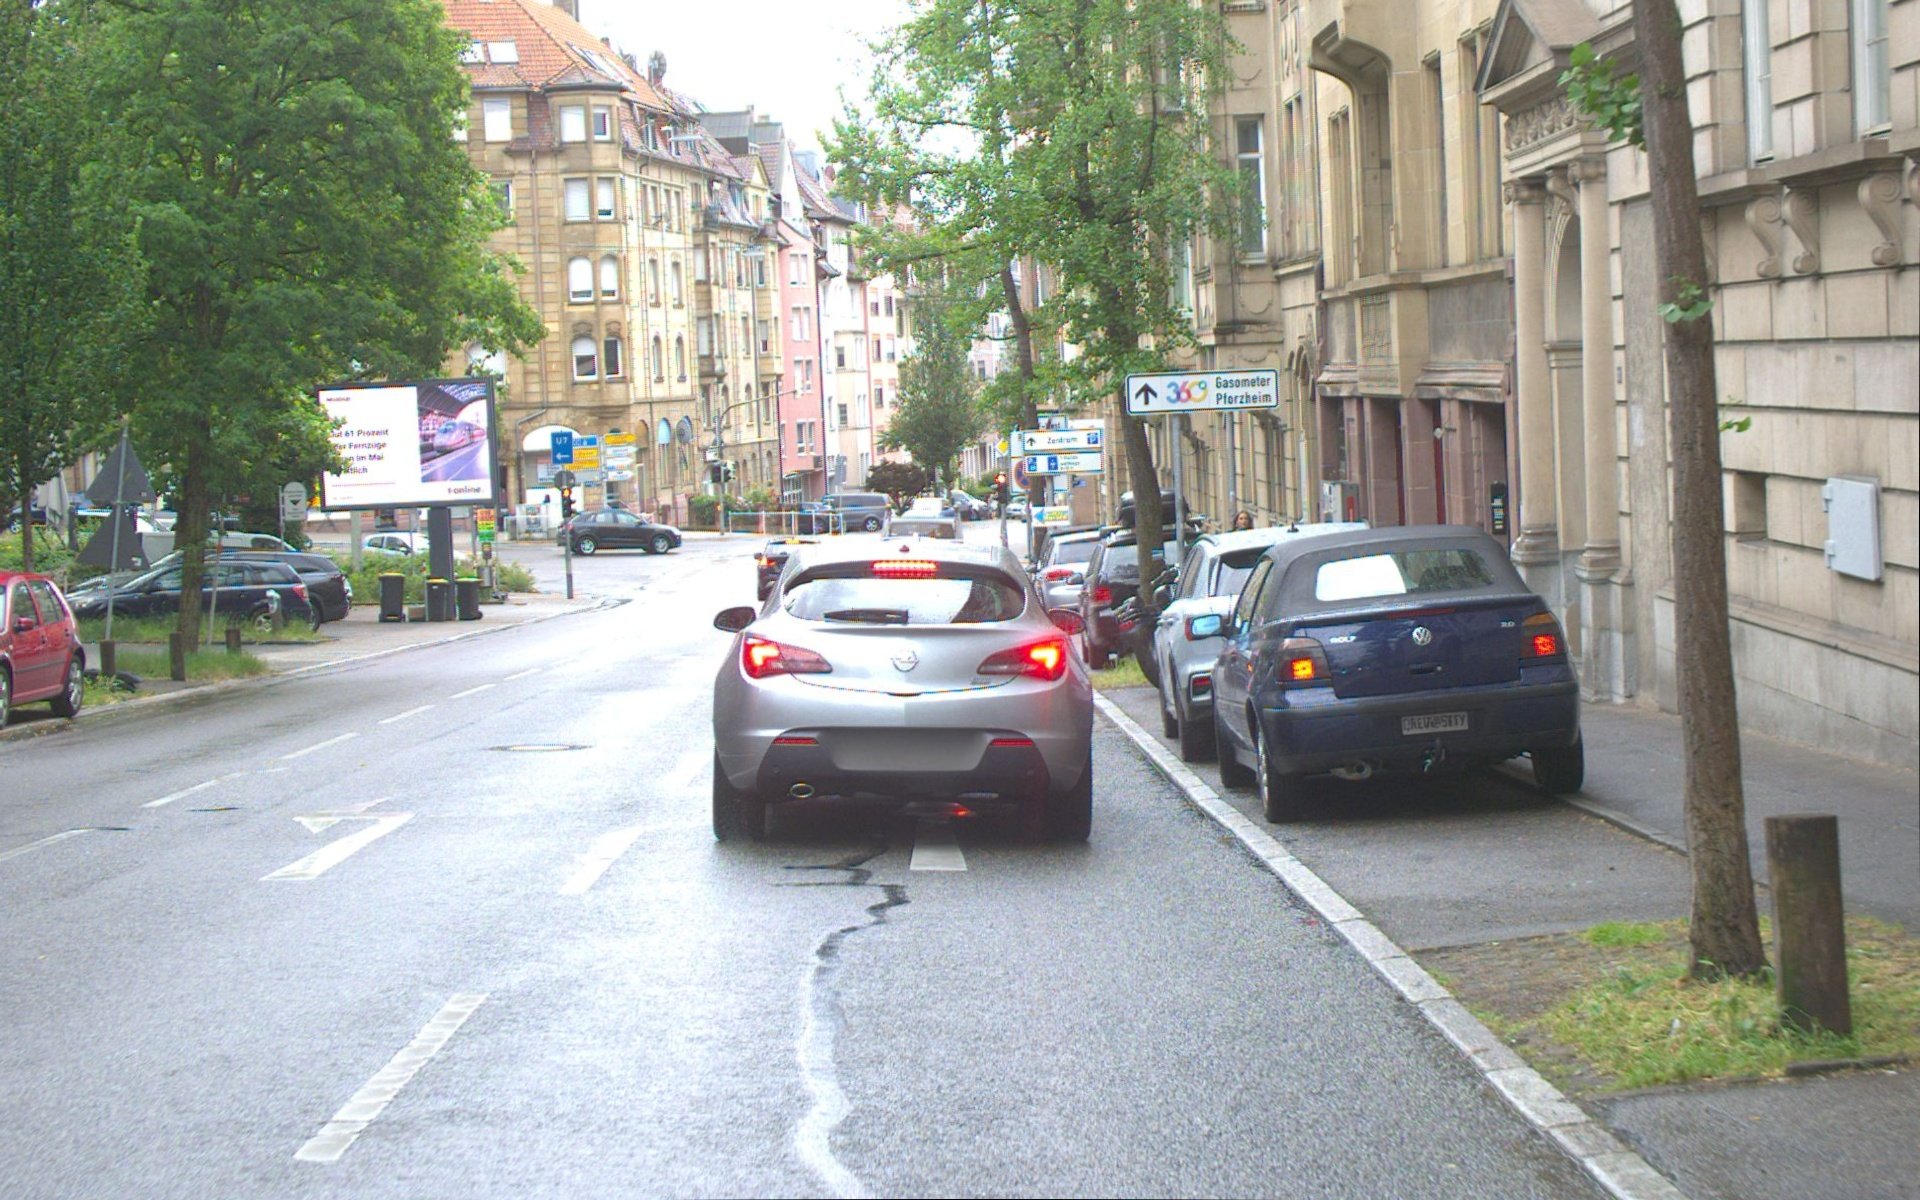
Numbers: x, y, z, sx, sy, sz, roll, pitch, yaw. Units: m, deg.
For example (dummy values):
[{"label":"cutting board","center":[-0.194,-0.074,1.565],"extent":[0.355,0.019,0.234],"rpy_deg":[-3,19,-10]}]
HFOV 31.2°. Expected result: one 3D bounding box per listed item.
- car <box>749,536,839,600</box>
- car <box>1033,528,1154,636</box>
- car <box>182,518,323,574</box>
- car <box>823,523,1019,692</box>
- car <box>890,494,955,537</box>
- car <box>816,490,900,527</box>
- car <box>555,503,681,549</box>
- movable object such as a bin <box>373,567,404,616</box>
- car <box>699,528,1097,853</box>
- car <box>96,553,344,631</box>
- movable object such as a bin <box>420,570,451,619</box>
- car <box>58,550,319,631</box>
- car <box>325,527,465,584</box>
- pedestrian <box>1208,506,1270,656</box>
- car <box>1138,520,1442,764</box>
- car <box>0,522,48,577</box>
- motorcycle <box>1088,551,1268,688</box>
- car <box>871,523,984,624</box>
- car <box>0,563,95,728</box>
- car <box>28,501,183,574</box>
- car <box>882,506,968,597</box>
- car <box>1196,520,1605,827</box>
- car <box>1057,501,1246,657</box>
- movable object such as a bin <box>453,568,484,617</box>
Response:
[{"label":"car","center":[-4.069,-0.806,84.852],"extent":[1.993,1.495,4.000],"rpy_deg":[-2,1,0]},{"label":"car","center":[2.030,-0.306,53.098],"extent":[1.637,1.519,3.858],"rpy_deg":[-2,1,0]},{"label":"car","center":[-22.342,-1.690,108.587],"extent":[3.990,1.744,1.751],"rpy_deg":[0,0,15]},{"label":"car","center":[-0.430,0.022,33.200],"extent":[1.772,1.499,3.870],"rpy_deg":[-1,2,-2]},{"label":"car","center":[-1.525,-3.473,141.885],"extent":[1.994,1.678,3.998],"rpy_deg":[1,1,10]},{"label":"car","center":[-4.933,-4.433,166.979],"extent":[3.987,1.744,2.000],"rpy_deg":[1,1,-1]},{"label":"car","center":[-11.907,-2.597,119.937],"extent":[4.227,1.579,1.940],"rpy_deg":[0,1,0]},{"label":"movable object such as a bin","center":[-12.511,-0.191,75.253],"extent":[0.625,1.055,0.634],"rpy_deg":[1,1,-6]},{"label":"car","center":[-0.337,0.374,17.695],"extent":[1.811,1.444,3.870],"rpy_deg":[-1,2,-2]},{"label":"car","center":[-13.794,-0.169,64.055],"extent":[4.308,1.239,1.643],"rpy_deg":[-3,1,-19]},{"label":"movable object such as a bin","center":[-11.478,-0.123,75.194],"extent":[0.625,1.055,0.720],"rpy_deg":[1,1,-6]},{"label":"car","center":[-13.701,-0.180,61.024],"extent":[4.308,1.239,1.643],"rpy_deg":[-3,1,-19]},{"label":"car","center":[-17.645,-1.379,107.363],"extent":[3.991,1.744,1.751],"rpy_deg":[0,0,20]},{"label":"pedestrian","center":[3.488,-0.234,43.043],"extent":[0.716,1.863,0.636],"rpy_deg":[0,0,-1]},{"label":"car","center":[2.172,0.220,23.504],"extent":[1.637,1.464,3.858],"rpy_deg":[-2,1,0]},{"label":"car","center":[-31.799,-1.630,111.441],"extent":[3.990,1.744,1.751],"rpy_deg":[0,0,15]},{"label":"motorcycle","center":[2.044,0.170,31.956],"extent":[0.657,1.231,1.977],"rpy_deg":[0,0,39]},{"label":"car","center":[-0.578,-0.458,57.778],"extent":[1.656,1.537,3.666],"rpy_deg":[-4,1,-3]},{"label":"car","center":[-9.526,0.431,32.492],"extent":[1.637,1.434,4.080],"rpy_deg":[-2,1,0]},{"label":"car","center":[-28.960,-2.116,116.561],"extent":[4.708,2.434,1.999],"rpy_deg":[0,0,15]},{"label":"car","center":[-0.700,-0.988,69.518],"extent":[1.656,1.776,3.665],"rpy_deg":[-1,1,0]},{"label":"car","center":[2.257,0.317,18.391],"extent":[1.637,1.424,3.377],"rpy_deg":[-2,1,-1]},{"label":"car","center":[2.084,-0.267,38.334],"extent":[1.637,1.597,3.858],"rpy_deg":[-2,1,-3]},{"label":"movable object such as a bin","center":[-10.902,-0.167,76.294],"extent":[0.658,1.055,0.627],"rpy_deg":[1,1,-9]}]
